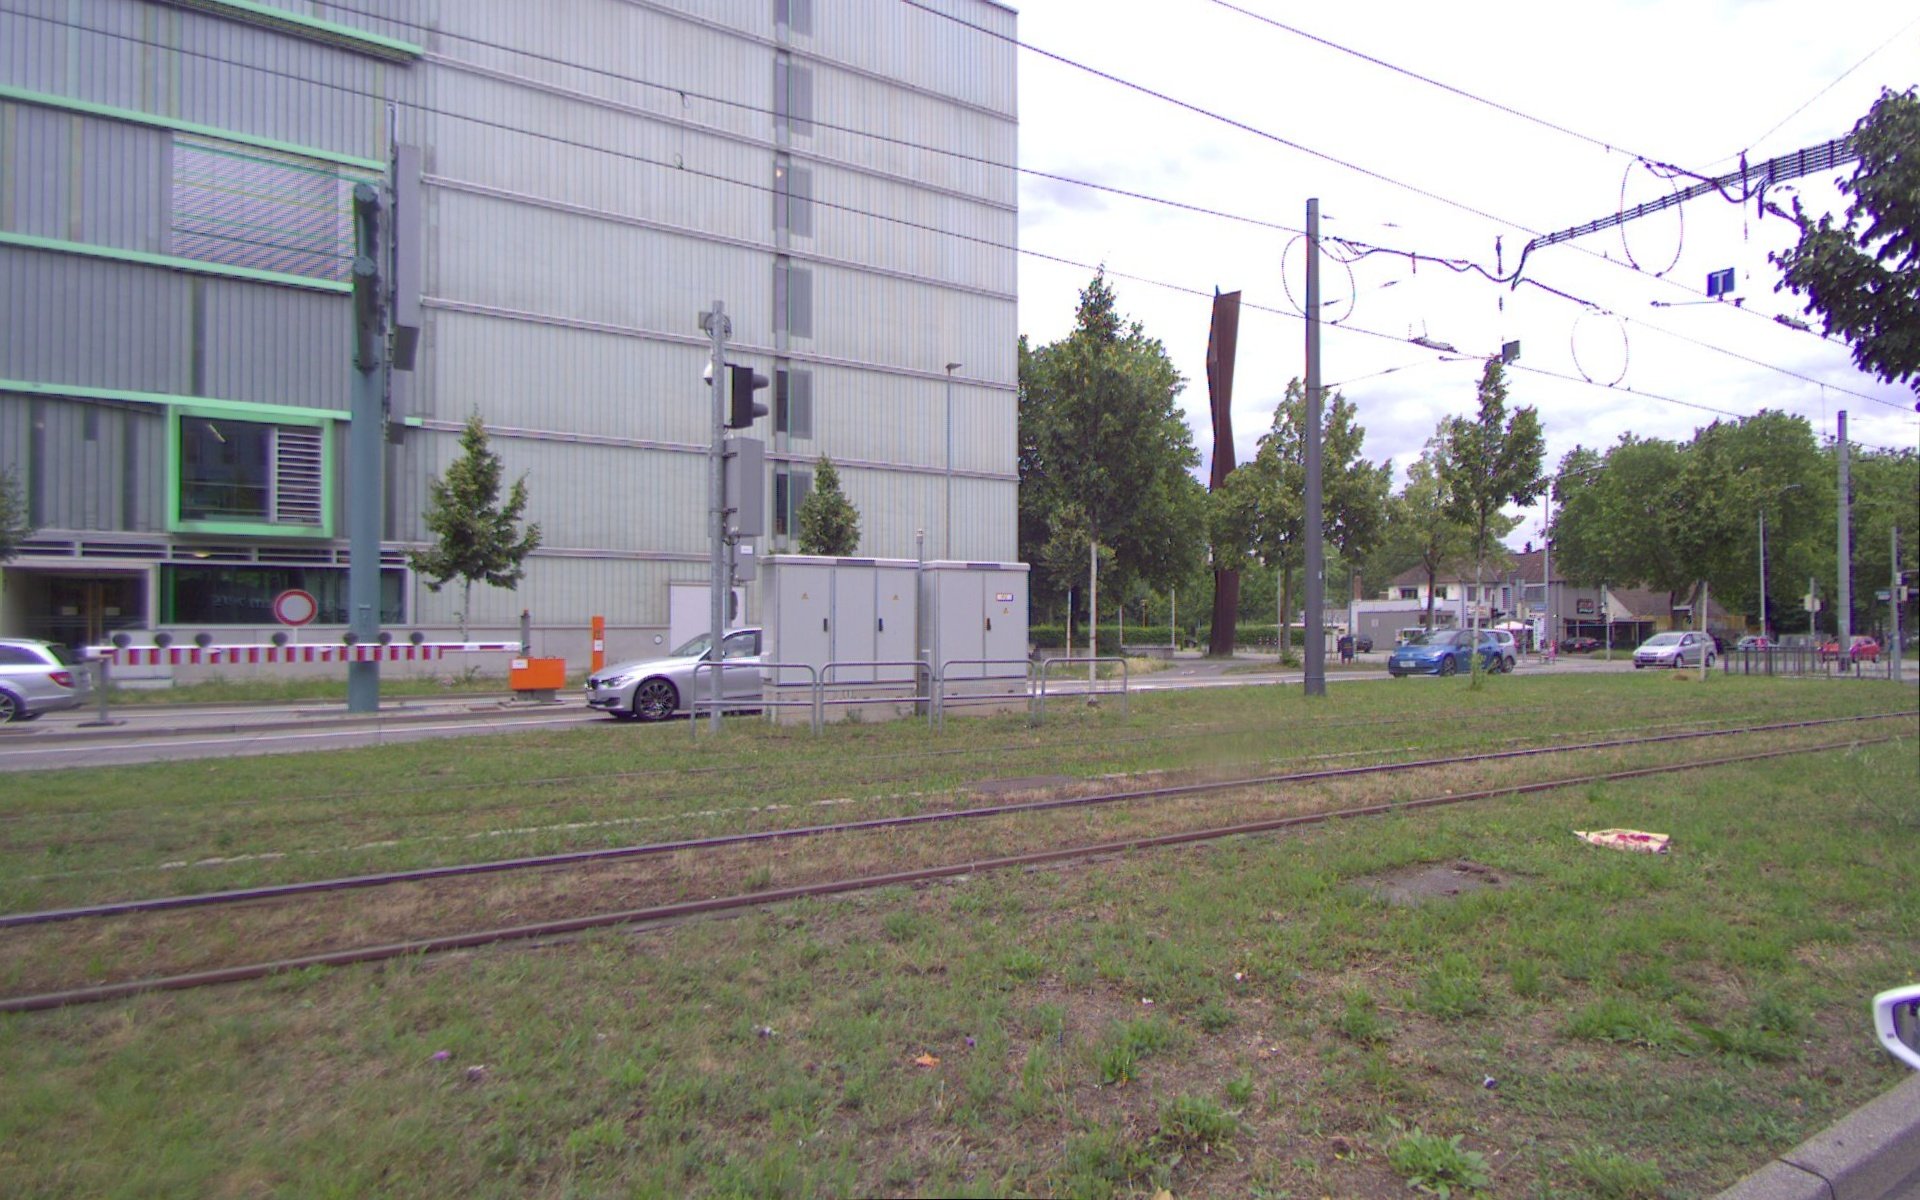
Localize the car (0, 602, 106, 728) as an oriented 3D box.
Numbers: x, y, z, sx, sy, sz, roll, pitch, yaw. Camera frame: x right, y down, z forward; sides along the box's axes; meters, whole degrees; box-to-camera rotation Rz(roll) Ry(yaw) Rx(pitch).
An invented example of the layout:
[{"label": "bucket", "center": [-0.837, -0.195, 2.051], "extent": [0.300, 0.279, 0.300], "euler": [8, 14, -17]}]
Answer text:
[{"label": "car", "center": [-17.489, 1.050, 16.285], "extent": [5.232, 2.040, 1.984], "euler": [1, -1, -30]}]

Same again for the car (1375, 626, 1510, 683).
[{"label": "car", "center": [15.283, 1.659, 31.717], "extent": [4.645, 1.609, 1.950], "euler": [1, -1, -37]}]

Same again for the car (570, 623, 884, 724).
[{"label": "car", "center": [-3.810, 1.159, 16.893], "extent": [4.872, 1.464, 1.718], "euler": [1, -3, -35]}]

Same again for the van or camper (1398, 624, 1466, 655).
[{"label": "van or camper", "center": [32.400, 2.652, 69.184], "extent": [2.416, 2.040, 5.283], "euler": [0, -1, 2]}]

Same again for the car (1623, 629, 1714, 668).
[{"label": "car", "center": [31.976, 2.142, 45.302], "extent": [4.623, 1.665, 1.711], "euler": [1, -1, -33]}]

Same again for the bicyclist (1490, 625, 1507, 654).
[{"label": "bicyclist", "center": [33.211, 2.442, 61.917], "extent": [0.838, 1.744, 0.719], "euler": [-1, -1, 34]}]

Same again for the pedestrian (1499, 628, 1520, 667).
[{"label": "pedestrian", "center": [26.917, 2.309, 49.208], "extent": [0.769, 1.856, 0.771], "euler": [-1, -1, 43]}]

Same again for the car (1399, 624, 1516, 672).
[{"label": "car", "center": [18.484, 1.771, 37.274], "extent": [4.529, 1.591, 1.786], "euler": [2, 1, -32]}]

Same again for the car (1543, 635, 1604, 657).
[{"label": "car", "center": [54.957, 4.129, 90.093], "extent": [2.078, 1.840, 4.268], "euler": [1, -1, -25]}]

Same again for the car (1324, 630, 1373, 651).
[{"label": "car", "center": [35.784, 3.725, 92.548], "extent": [1.974, 1.873, 3.973], "euler": [1, -1, -27]}]

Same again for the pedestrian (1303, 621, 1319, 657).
[{"label": "pedestrian", "center": [20.043, 2.196, 57.378], "extent": [0.887, 2.040, 0.954], "euler": [0, -1, 18]}]

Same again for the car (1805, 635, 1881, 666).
[{"label": "car", "center": [48.189, 2.715, 54.811], "extent": [4.275, 1.591, 1.788], "euler": [1, -1, -29]}]

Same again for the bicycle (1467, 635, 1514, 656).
[{"label": "bicycle", "center": [32.824, 2.817, 62.178], "extent": [2.474, 1.218, 0.738], "euler": [-1, -1, 35]}]
